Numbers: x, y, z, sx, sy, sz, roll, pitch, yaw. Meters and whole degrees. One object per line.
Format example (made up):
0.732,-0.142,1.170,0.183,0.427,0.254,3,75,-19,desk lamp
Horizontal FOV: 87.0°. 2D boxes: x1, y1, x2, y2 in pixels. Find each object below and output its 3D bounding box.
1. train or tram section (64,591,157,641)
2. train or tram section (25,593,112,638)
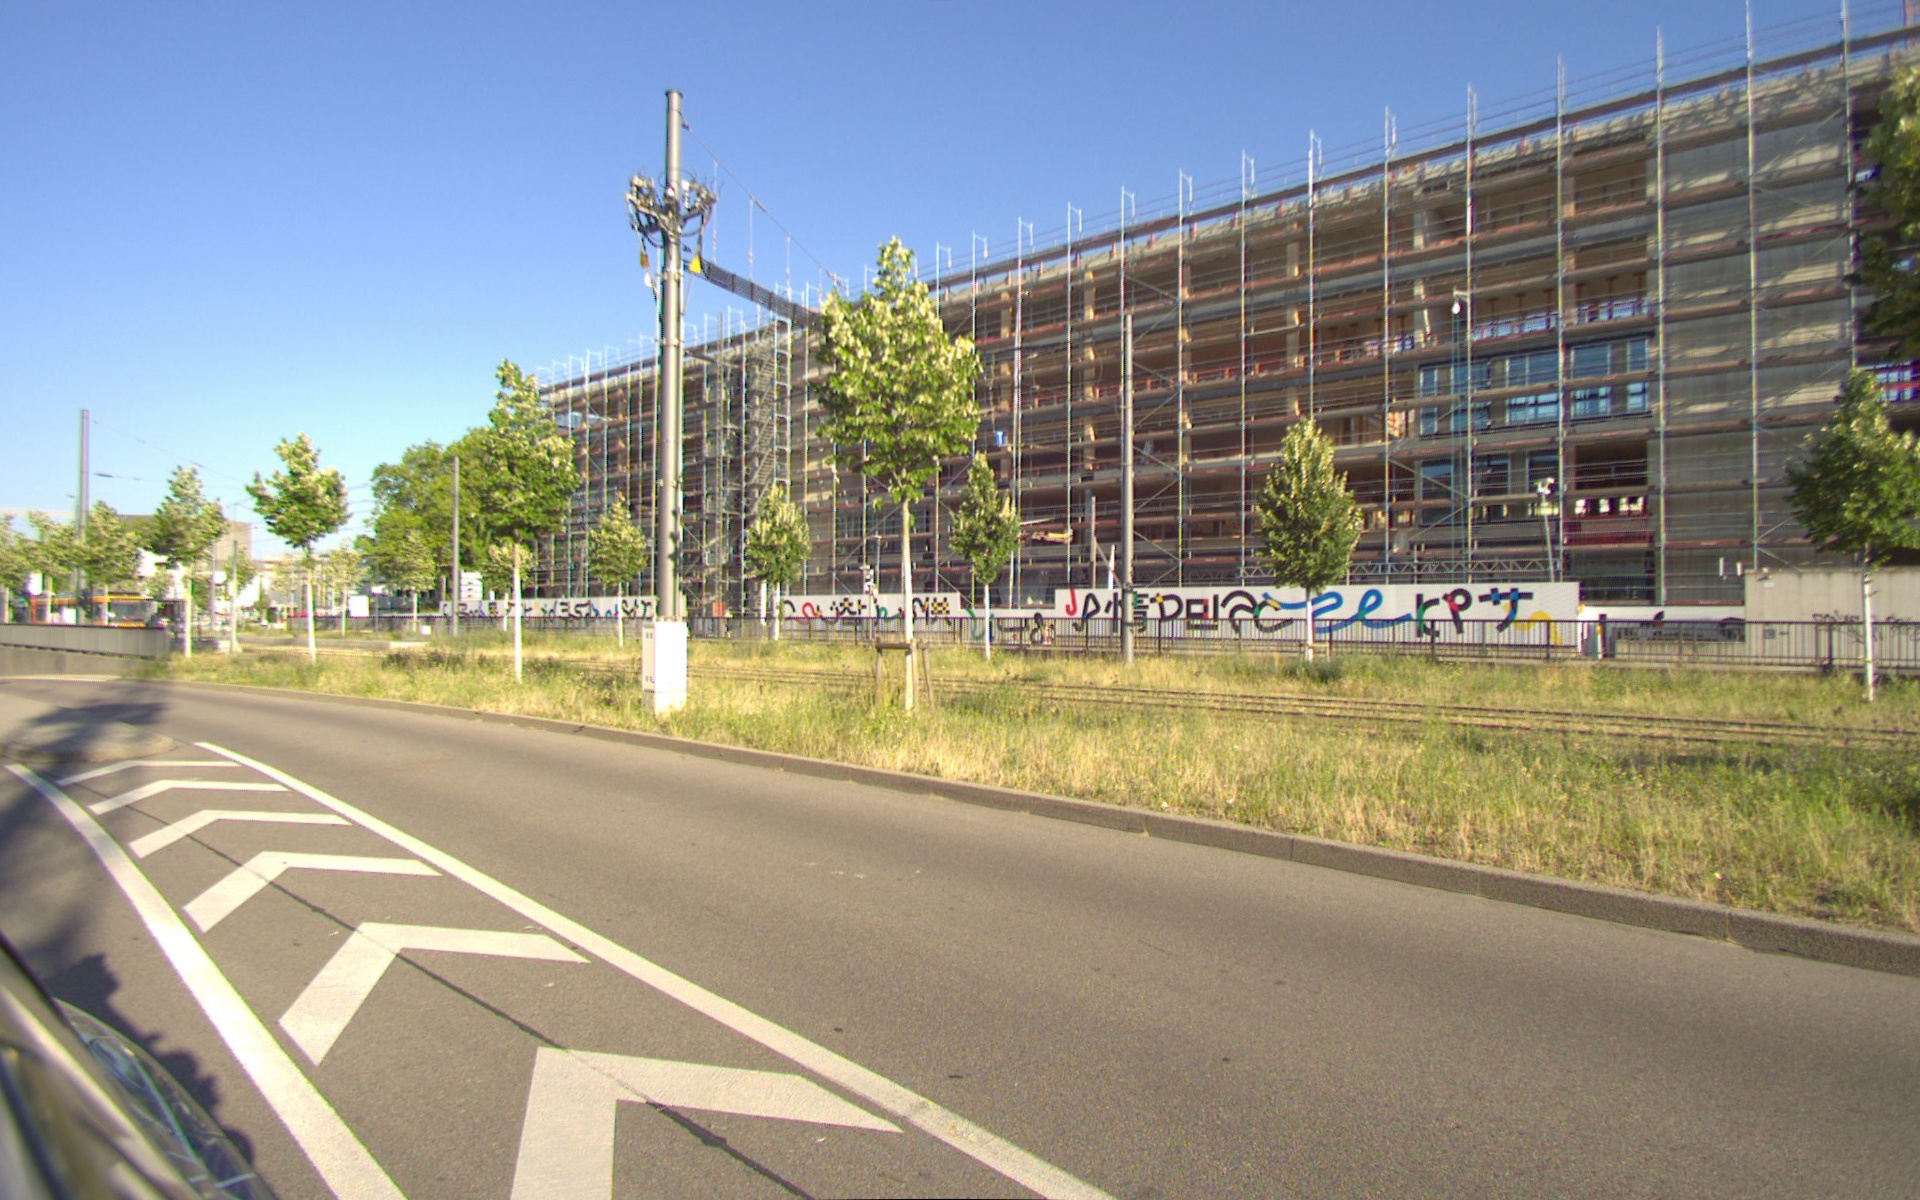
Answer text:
-62.613,1.134,74.443,12.619,3.423,2.917,-1,0,39,train or tram section
-73.261,1.285,83.038,14.749,3.423,2.917,-1,0,39,train or tram section
